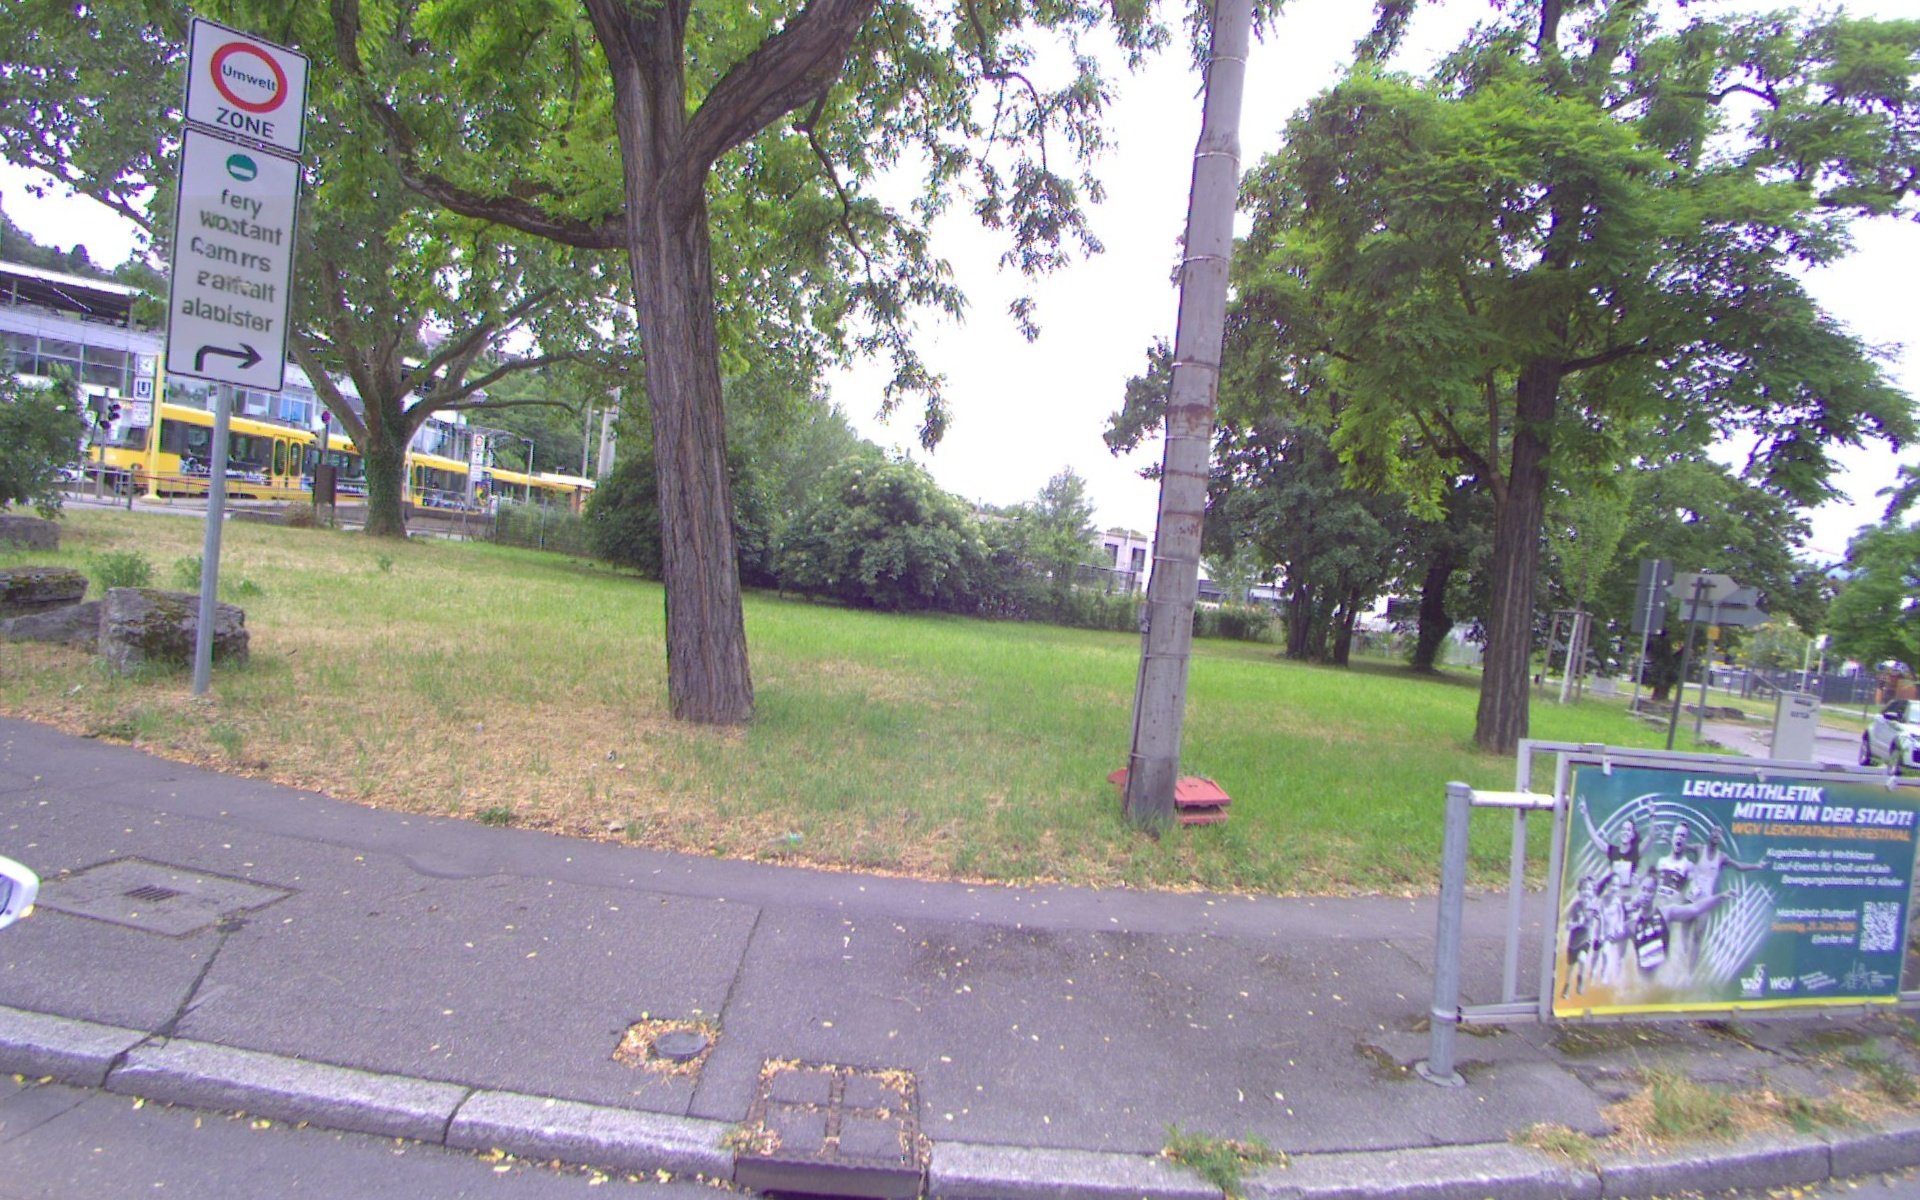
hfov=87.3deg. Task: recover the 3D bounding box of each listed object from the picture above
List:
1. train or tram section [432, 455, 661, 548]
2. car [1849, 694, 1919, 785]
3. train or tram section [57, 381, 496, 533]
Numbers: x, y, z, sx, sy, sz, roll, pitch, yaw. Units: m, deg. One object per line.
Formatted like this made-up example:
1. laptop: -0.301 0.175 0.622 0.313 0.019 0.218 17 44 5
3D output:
1. train or tram section: -24.798 -5.702 62.822 3.215 3.713 19.168 7 2 10
2. car: 19.404 2.788 19.789 2.014 1.555 3.933 5 -1 30
3. train or tram section: -27.877 -5.549 43.934 3.215 3.713 19.168 7 2 10
